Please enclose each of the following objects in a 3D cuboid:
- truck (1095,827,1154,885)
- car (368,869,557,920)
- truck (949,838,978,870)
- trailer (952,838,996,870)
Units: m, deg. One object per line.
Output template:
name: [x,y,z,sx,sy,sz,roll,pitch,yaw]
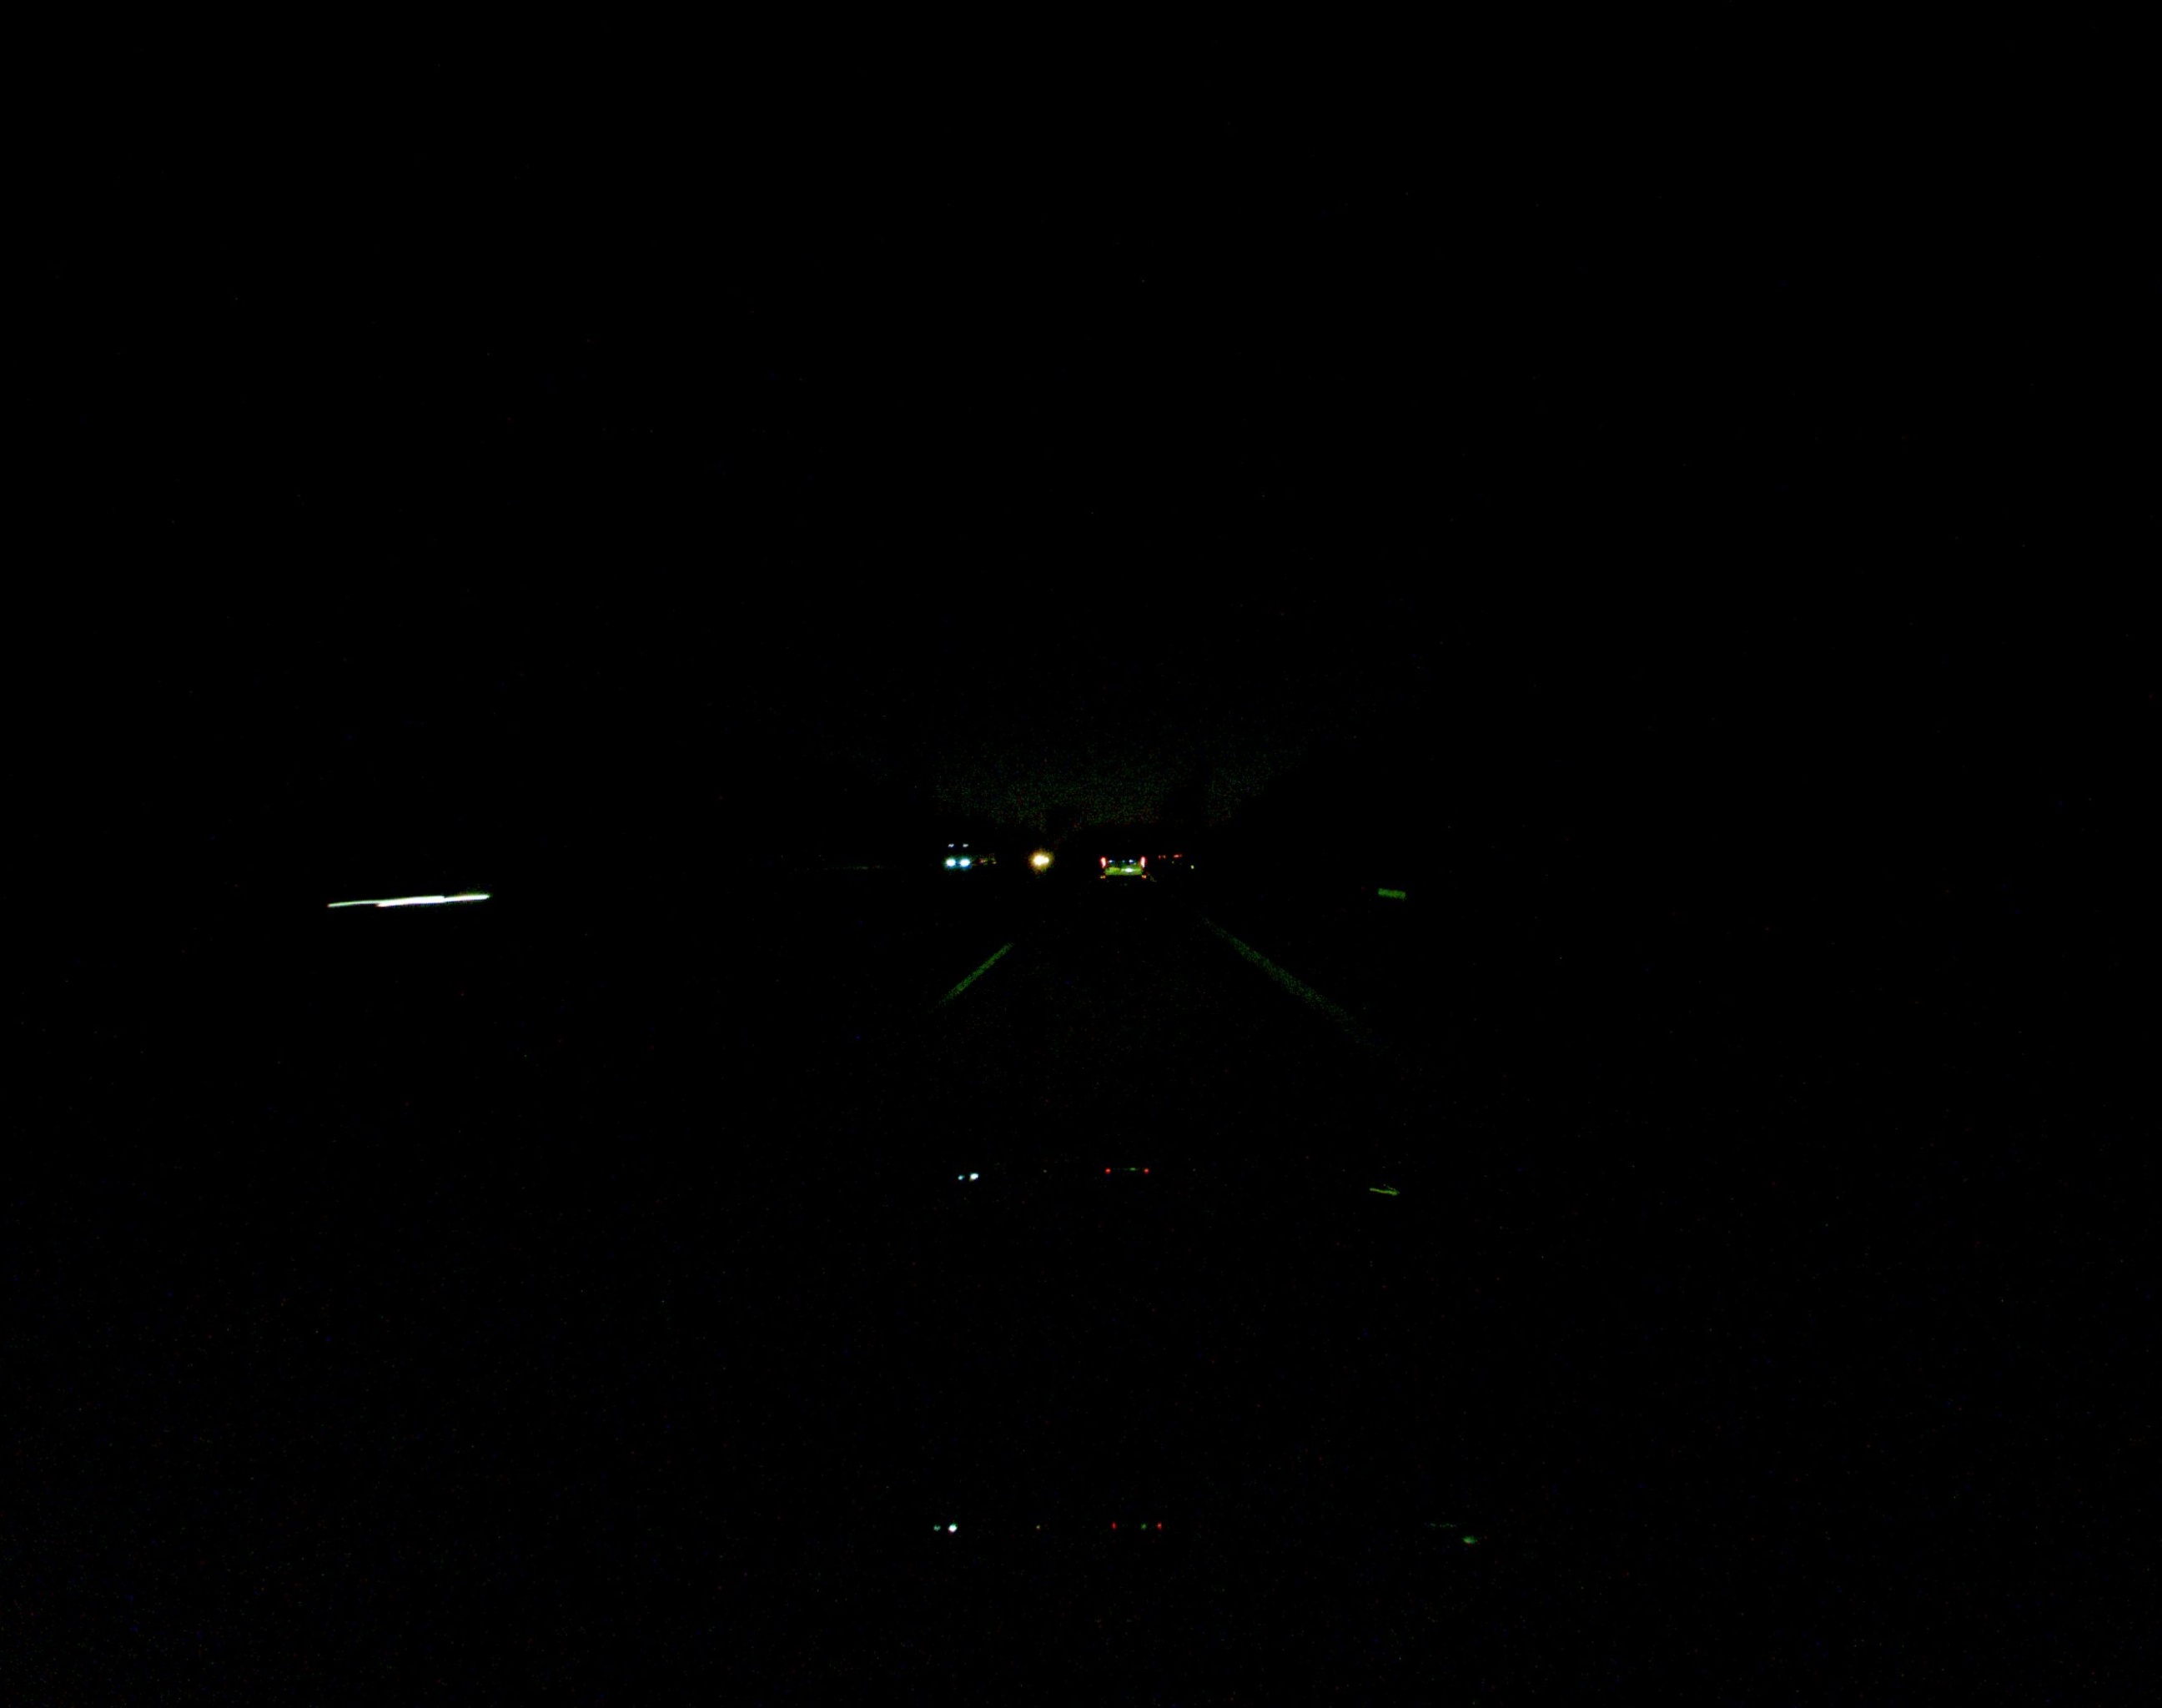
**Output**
truck: [2.235,0.137,41.324,2.619,2.624,8.692,-1,-1,4]
car: [-17.943,1.121,23.958,1.985,1.332,4.403,-1,-1,4]
truck: [-15.902,0.033,110.360,2.701,4.199,5.426,-1,-1,4]
trailer: [-15.289,0.107,118.081,2.676,4.218,17.272,-1,-1,4]
